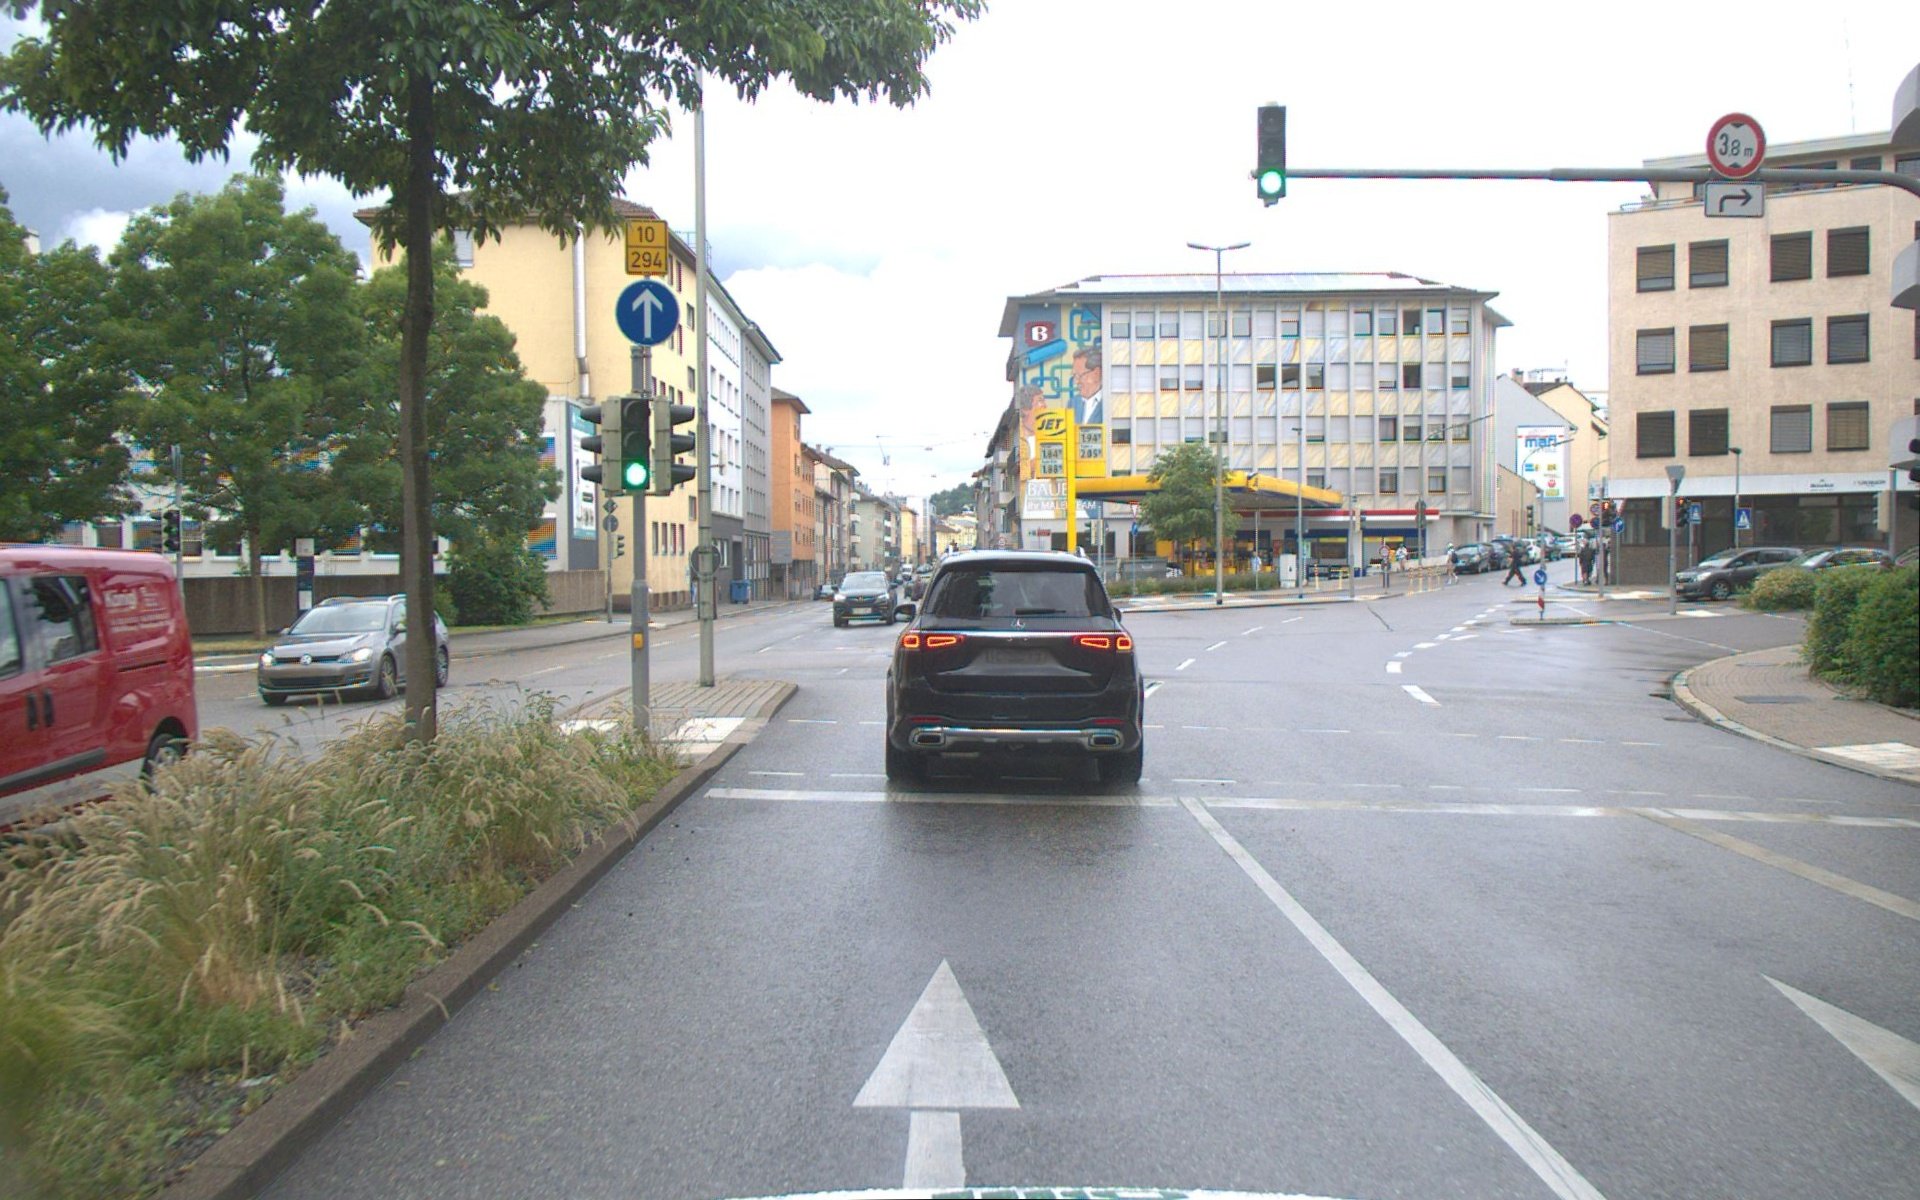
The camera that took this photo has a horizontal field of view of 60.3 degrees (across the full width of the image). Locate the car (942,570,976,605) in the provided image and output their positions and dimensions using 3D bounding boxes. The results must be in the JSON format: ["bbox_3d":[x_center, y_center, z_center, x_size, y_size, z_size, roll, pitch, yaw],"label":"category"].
[{"bbox_3d":[-0.068,-0.602,83.052,1.649,1.624,3.999,1,-1,-1],"label":"car"}]

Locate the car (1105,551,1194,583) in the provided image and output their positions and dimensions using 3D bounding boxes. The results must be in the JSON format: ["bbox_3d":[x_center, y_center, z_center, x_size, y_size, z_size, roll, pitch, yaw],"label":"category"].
[{"bbox_3d":[8.792,-1.515,76.970,1.723,1.400,3.936,-2,1,-43],"label":"car"}]

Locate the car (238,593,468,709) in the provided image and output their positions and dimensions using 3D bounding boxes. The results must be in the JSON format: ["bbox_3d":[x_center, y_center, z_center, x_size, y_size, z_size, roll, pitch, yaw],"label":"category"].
[{"bbox_3d":[-8.991,0.691,24.916,1.809,1.454,4.434,-2,1,-1],"label":"car"}]

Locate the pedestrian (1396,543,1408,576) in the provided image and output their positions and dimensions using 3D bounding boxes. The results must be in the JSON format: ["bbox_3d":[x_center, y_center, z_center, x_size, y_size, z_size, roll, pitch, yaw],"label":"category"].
[{"bbox_3d":[22.368,-2.055,83.766,0.474,1.669,0.438,1,-1,28],"label":"pedestrian"}]

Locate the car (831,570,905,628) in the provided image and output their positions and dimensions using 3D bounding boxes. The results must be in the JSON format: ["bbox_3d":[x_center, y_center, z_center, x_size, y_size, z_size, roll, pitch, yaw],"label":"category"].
[{"bbox_3d":[-2.783,-0.001,50.884,1.952,1.642,4.190,1,-1,1],"label":"car"}]

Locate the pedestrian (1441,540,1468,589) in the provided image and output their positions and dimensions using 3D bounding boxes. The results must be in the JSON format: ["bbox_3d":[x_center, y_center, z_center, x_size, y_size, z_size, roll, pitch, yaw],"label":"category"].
[{"bbox_3d":[22.032,-1.586,73.678,0.838,2.165,0.947,-1,0,-6],"label":"pedestrian"}]

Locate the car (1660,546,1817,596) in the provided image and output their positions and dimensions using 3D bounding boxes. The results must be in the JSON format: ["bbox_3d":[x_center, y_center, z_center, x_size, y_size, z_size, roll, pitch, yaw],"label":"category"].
[{"bbox_3d":[24.563,-0.914,52.308,4.094,1.465,1.860,-1,0,6],"label":"car"}]

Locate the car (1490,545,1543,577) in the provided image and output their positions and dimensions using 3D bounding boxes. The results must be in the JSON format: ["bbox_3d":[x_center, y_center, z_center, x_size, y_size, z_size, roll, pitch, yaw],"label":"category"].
[{"bbox_3d":[32.184,-2.251,95.625,1.958,1.735,3.989,-1,1,33],"label":"car"}]

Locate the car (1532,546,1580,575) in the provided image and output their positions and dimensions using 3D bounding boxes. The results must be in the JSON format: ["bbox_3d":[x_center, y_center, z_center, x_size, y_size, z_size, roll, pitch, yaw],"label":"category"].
[{"bbox_3d":[37.918,-2.495,105.195,1.958,1.735,3.989,-1,1,33],"label":"car"}]

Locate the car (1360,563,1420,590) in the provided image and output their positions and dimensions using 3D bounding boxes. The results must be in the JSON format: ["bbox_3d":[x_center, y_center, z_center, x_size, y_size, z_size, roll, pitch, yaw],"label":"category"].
[{"bbox_3d":[24.882,-1.364,95.648,1.962,1.422,3.981,1,-1,38],"label":"car"}]

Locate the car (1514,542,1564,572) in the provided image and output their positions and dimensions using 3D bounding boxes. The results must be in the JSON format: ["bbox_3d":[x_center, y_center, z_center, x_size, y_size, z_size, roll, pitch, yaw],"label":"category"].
[{"bbox_3d":[35.213,-2.613,100.615,1.958,1.735,3.989,-1,1,33],"label":"car"}]

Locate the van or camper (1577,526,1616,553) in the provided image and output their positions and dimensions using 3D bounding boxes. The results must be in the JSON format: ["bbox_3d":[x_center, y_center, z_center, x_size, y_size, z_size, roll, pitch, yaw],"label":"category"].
[{"bbox_3d":[51.129,-4.827,132.830,1.958,2.013,4.500,-1,1,33],"label":"van or camper"}]

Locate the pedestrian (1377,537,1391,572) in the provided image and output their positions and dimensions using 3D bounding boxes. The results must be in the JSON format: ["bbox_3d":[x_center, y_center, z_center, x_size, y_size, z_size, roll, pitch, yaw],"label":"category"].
[{"bbox_3d":[21.851,-2.332,85.228,0.515,1.757,0.688,0,0,27],"label":"pedestrian"}]

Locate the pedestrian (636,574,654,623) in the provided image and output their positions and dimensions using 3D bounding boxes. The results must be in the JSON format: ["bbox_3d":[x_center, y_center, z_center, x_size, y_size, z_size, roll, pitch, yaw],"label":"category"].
[{"bbox_3d":[-11.405,-0.069,59.879,0.615,1.757,0.649,-1,0,-10],"label":"pedestrian"}]

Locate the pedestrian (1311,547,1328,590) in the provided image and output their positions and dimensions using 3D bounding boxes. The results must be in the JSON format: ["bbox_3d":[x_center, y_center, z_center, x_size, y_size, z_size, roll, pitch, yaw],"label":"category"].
[{"bbox_3d":[14.896,-1.295,68.531,0.560,1.727,0.631,1,-1,1],"label":"pedestrian"}]

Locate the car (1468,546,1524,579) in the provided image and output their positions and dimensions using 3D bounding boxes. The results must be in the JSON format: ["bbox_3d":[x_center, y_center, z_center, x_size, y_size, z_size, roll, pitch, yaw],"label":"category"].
[{"bbox_3d":[29.644,-2.063,91.410,1.958,1.735,3.989,-1,1,33],"label":"car"}]

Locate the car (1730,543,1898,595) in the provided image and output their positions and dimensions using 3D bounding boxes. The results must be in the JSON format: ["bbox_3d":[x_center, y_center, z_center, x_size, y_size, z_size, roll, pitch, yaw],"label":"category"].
[{"bbox_3d":[25.660,-0.925,49.815,4.094,1.465,1.860,-1,0,6],"label":"car"}]

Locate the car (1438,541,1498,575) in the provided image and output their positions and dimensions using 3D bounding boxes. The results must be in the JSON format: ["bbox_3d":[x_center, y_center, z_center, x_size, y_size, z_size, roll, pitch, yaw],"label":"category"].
[{"bbox_3d":[26.784,-2.197,87.143,1.958,1.735,3.989,-1,1,33],"label":"car"}]

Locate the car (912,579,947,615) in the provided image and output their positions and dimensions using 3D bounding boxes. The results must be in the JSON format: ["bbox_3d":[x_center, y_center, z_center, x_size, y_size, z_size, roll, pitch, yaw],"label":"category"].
[{"bbox_3d":[-1.814,-0.148,98.296,1.953,2.049,3.999,1,-1,-1],"label":"car"}]

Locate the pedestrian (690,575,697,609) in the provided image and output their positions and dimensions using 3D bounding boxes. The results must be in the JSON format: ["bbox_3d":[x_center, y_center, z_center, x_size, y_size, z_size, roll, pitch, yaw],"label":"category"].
[{"bbox_3d":[-13.066,-0.389,81.121,0.240,1.653,0.411,1,-1,1],"label":"pedestrian"}]

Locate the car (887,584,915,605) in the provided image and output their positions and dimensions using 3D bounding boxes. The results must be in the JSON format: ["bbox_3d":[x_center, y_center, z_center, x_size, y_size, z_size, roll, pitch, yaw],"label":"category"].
[{"bbox_3d":[-4.864,-0.451,137.197,1.952,1.574,4.190,1,-1,2],"label":"car"}]

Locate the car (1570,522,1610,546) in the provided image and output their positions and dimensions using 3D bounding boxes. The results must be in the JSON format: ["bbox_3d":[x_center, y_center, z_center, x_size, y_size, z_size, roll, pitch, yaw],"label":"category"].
[{"bbox_3d":[48.139,-5.020,126.387,1.958,1.743,4.372,-1,1,33],"label":"car"}]

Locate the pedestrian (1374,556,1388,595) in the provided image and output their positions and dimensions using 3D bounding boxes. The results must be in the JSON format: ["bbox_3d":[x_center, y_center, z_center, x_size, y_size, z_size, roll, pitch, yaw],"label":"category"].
[{"bbox_3d":[15.751,-0.924,61.886,0.388,1.424,0.446,1,-1,1],"label":"pedestrian"}]

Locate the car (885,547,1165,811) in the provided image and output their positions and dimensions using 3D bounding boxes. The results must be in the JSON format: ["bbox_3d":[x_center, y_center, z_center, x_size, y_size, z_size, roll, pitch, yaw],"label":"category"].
[{"bbox_3d":[0.465,0.594,13.784,1.953,1.832,3.999,1,-1,0],"label":"car"}]

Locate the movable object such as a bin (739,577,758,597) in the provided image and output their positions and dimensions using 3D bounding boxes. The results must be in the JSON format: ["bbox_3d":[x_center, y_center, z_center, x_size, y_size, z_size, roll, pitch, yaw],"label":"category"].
[{"bbox_3d":[-11.481,-0.707,89.647,0.891,1.056,0.844,1,-1,1],"label":"movable object such as a bin"}]

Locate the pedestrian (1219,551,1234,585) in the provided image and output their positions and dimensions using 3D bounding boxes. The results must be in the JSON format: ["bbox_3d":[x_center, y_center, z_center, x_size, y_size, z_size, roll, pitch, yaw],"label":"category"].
[{"bbox_3d":[13.575,-1.622,84.276,0.516,1.757,0.688,0,0,30],"label":"pedestrian"}]

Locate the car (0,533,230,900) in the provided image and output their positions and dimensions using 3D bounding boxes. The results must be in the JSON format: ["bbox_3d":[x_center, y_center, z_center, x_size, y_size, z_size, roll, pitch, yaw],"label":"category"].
[{"bbox_3d":[-5.845,0.634,8.940,1.757,1.886,4.790,-3,0,-2],"label":"car"}]

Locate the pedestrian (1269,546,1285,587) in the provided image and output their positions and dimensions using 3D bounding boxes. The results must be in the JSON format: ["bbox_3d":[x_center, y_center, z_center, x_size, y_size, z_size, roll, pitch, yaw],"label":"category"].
[{"bbox_3d":[13.434,-1.415,70.108,0.515,1.757,0.688,0,0,27],"label":"pedestrian"}]

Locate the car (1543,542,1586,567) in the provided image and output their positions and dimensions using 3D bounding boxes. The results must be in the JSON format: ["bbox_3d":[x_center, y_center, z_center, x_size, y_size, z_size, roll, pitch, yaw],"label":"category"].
[{"bbox_3d":[42.318,-3.170,115.692,1.958,1.735,3.989,-1,1,33],"label":"car"}]
